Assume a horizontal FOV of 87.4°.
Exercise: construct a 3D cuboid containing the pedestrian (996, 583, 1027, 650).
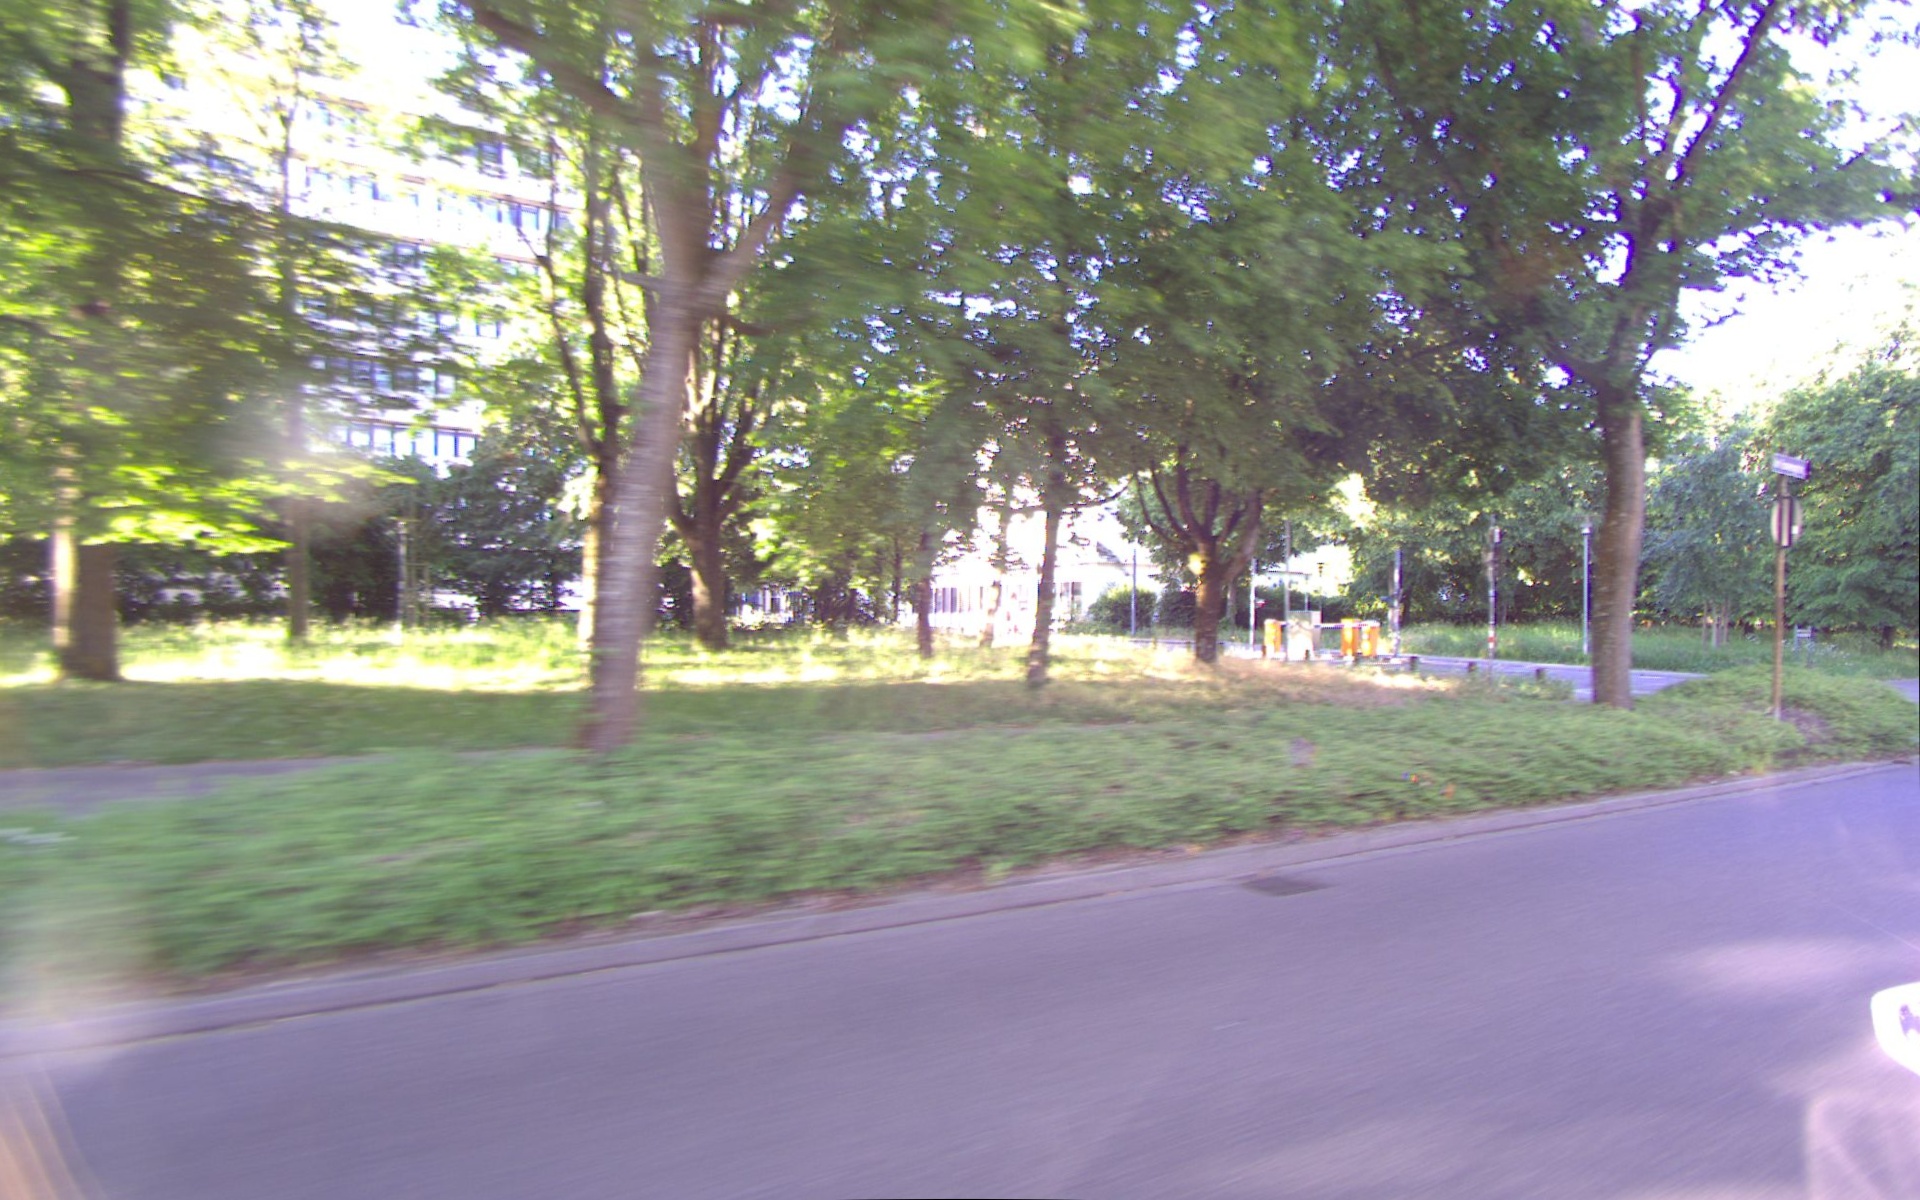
[{"bbox_3d":[1.563,0.503,30.745,0.583,2.040,0.752,1,0,-32],"label":"pedestrian"}]
